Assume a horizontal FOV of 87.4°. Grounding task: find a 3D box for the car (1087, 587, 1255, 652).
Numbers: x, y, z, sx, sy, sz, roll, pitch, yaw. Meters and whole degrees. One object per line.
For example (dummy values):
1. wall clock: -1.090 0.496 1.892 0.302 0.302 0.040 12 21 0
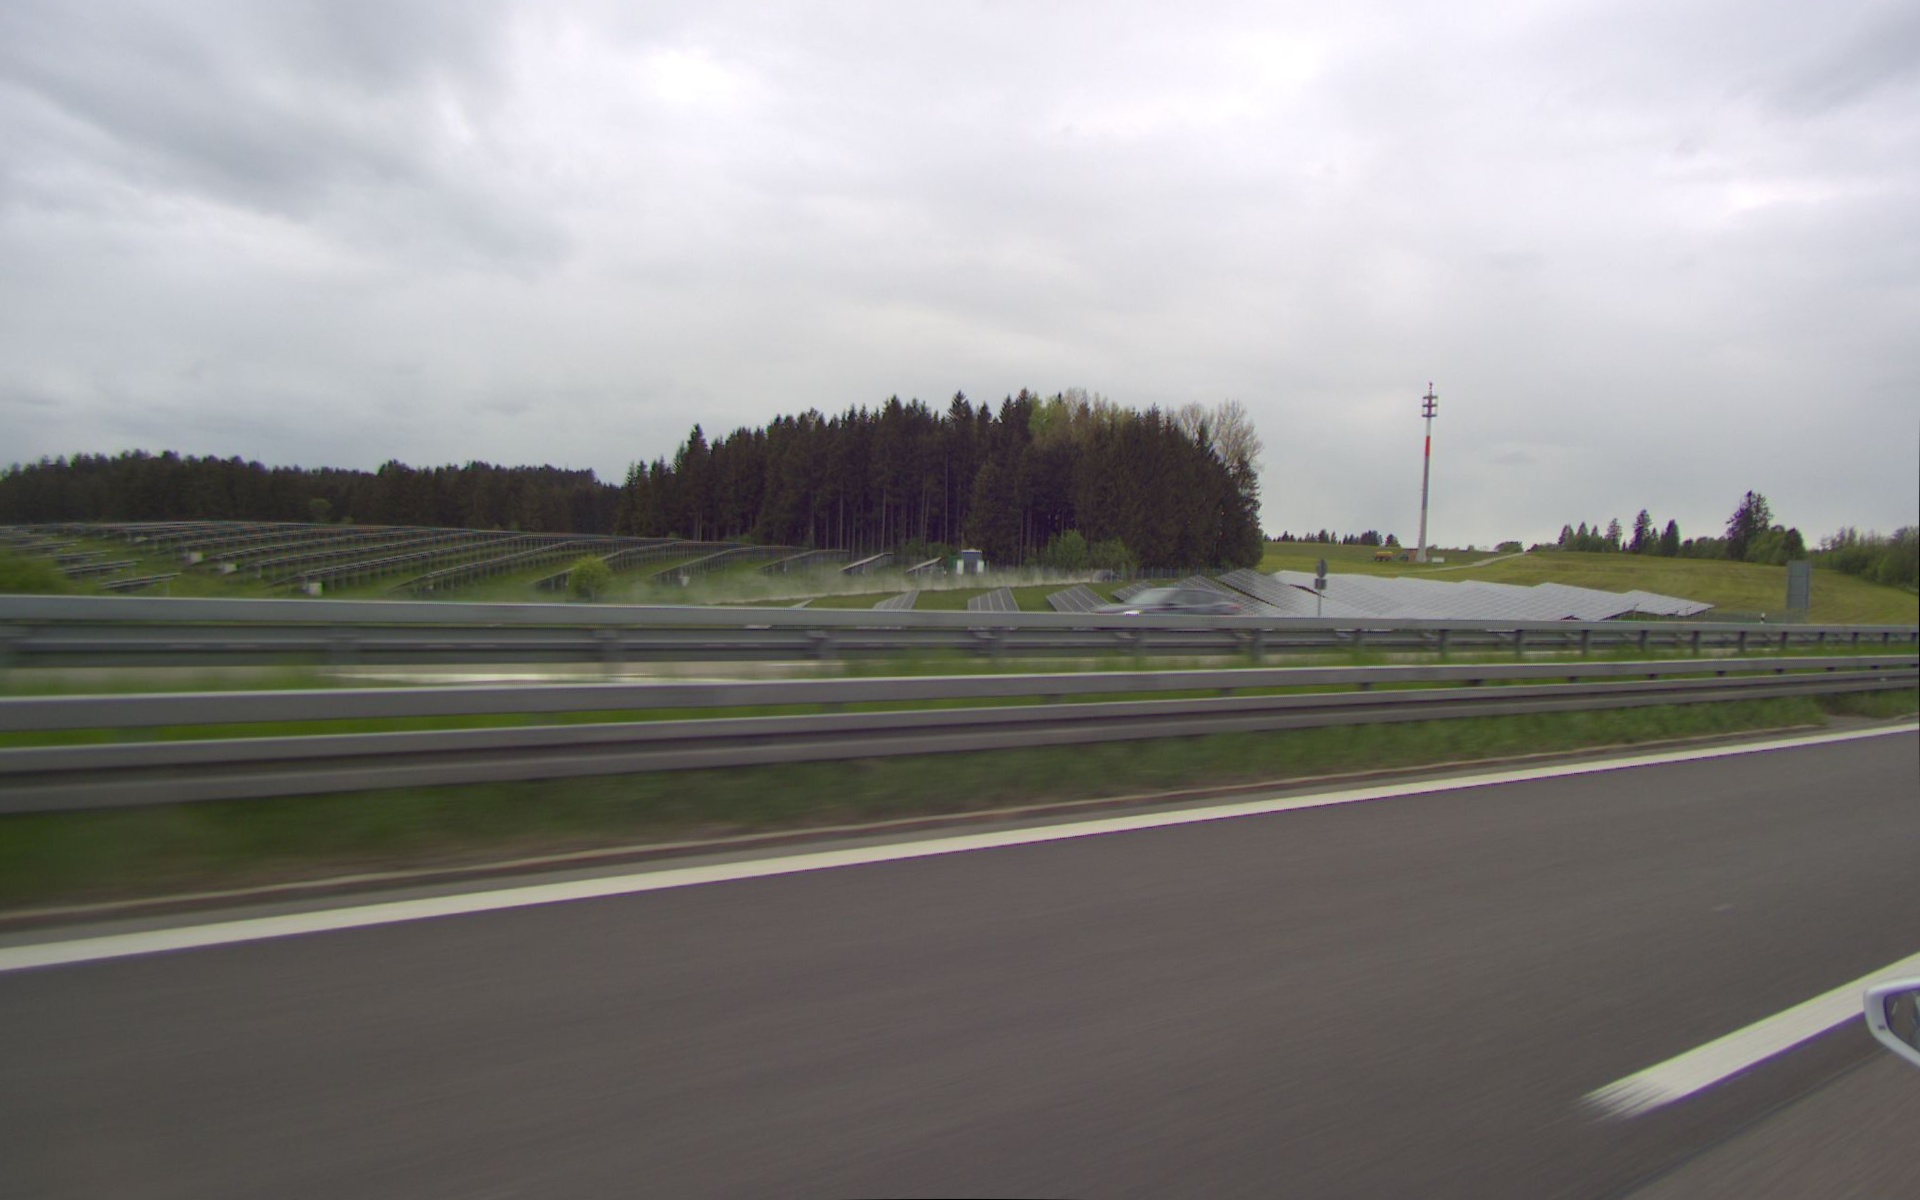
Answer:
1. car: 5.641 0.504 26.788 4.104 1.518 1.983 1 3 -32
